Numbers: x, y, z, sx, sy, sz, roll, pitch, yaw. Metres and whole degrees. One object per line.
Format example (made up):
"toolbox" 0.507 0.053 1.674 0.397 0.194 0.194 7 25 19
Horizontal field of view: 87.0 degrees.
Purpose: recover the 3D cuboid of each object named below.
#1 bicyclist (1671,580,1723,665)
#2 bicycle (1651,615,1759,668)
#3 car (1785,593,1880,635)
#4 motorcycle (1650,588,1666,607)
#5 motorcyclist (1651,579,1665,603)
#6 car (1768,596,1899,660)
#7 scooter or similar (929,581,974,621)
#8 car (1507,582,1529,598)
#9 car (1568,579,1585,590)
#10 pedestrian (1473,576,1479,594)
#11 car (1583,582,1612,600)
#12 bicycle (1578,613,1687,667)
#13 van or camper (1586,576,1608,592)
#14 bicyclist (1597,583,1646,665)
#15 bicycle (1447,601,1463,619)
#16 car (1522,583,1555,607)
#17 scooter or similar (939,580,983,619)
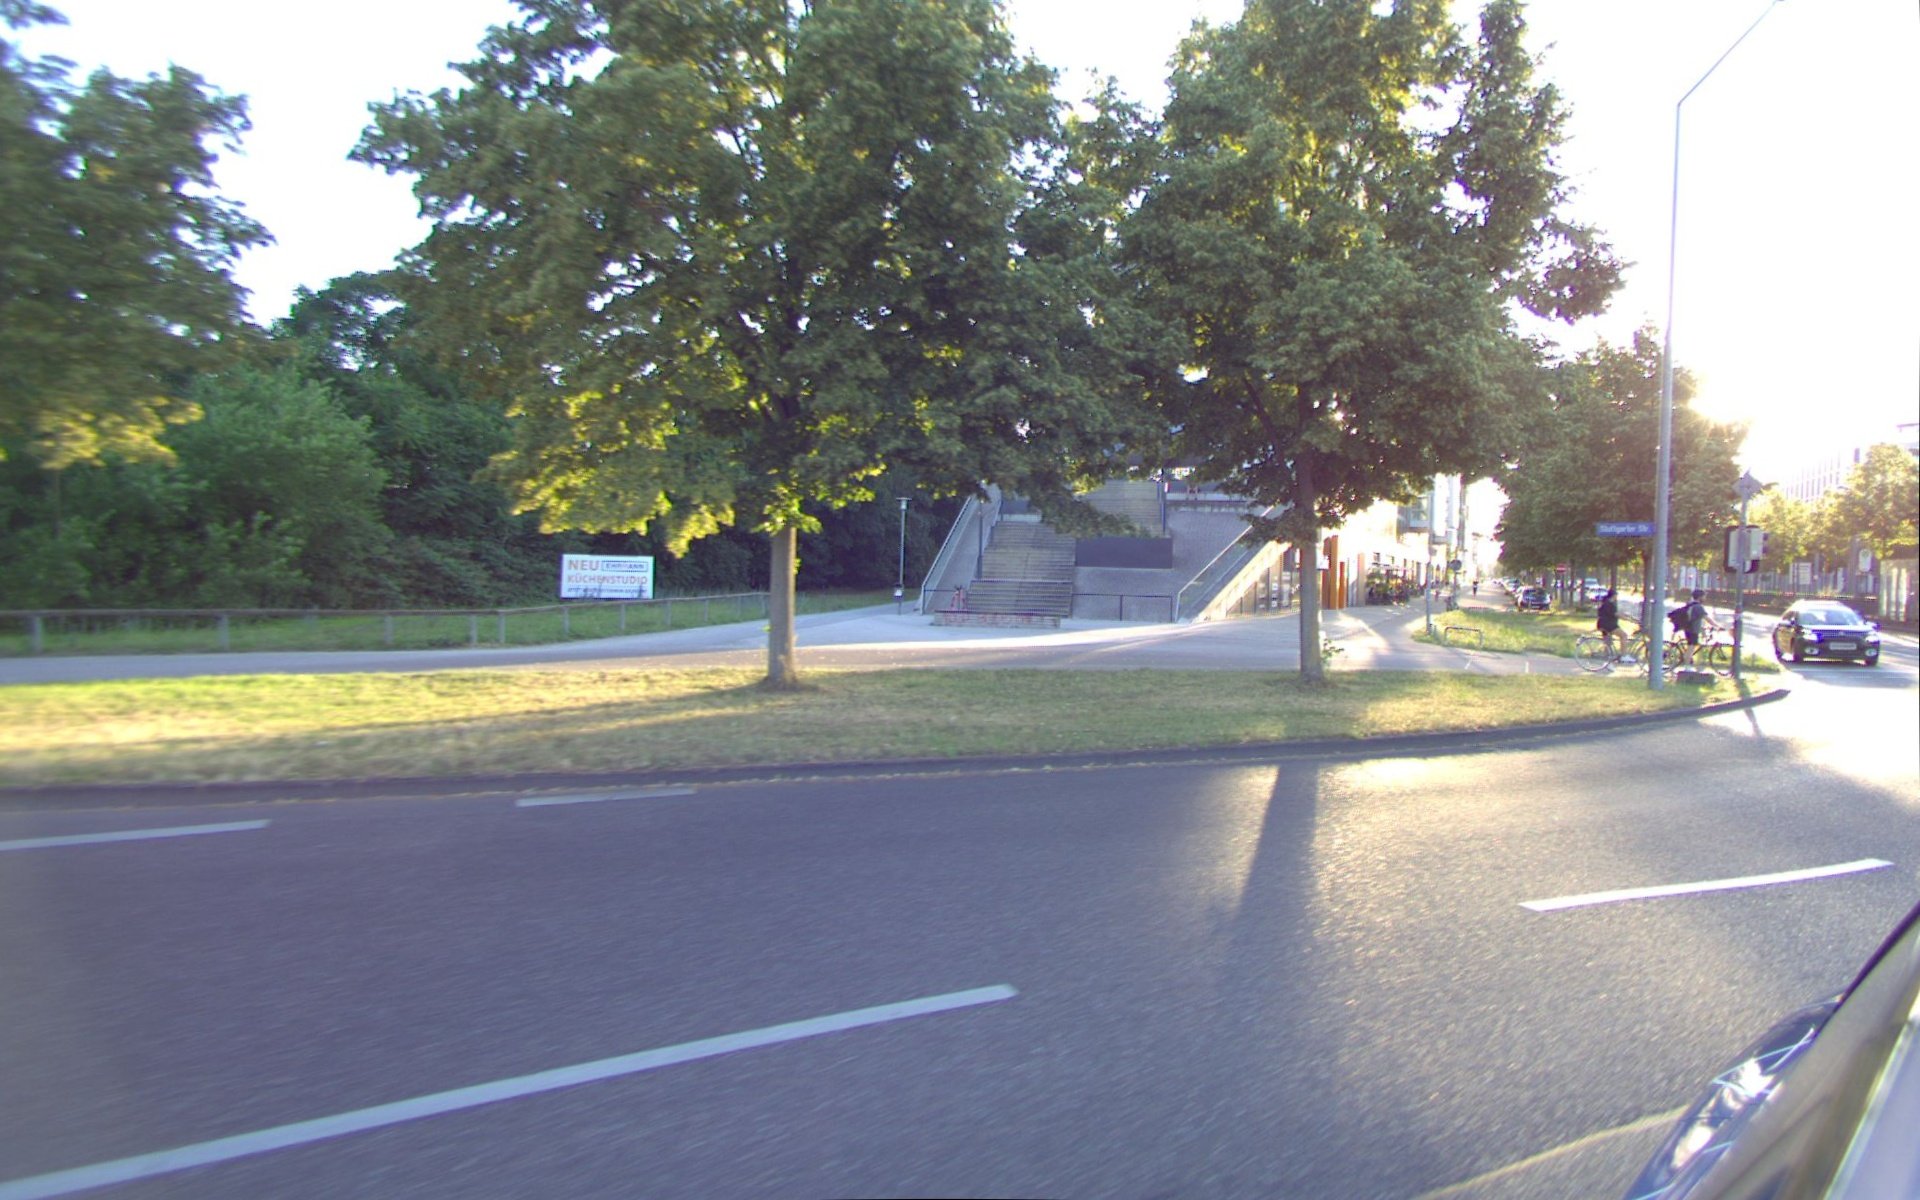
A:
"bicyclist" 15.933 0.468 21.899 0.844 1.777 0.794 2 1 36
"bicycle" 16.144 0.882 21.984 1.852 1.035 0.432 2 1 37
"car" 33.439 0.499 38.906 1.787 1.440 4.405 2 2 28
"motorcycle" 42.483 -0.145 61.579 0.553 1.114 2.138 1 1 29
"motorcyclist" 42.561 -0.539 61.720 0.631 1.426 0.588 1 2 30
"car" 23.178 0.684 27.019 1.787 1.482 3.961 2 2 28
"scooter or similar" -0.291 0.013 32.790 1.569 1.235 0.361 2 1 40
"car" 52.804 -0.984 95.784 1.787 1.482 3.961 2 2 28
"car" 98.402 -2.484 161.552 1.875 1.642 3.965 1 1 26
"pedestrian" 58.823 -1.710 115.425 0.534 2.039 0.522 1 1 28
"car" 56.157 -0.832 89.187 1.876 1.499 4.012 2 2 28
"bicycle" 13.932 0.819 21.012 1.840 1.035 0.306 1 1 20
"van or camper" 83.148 -2.155 132.159 1.981 1.981 5.278 2 2 28
"bicyclist" 13.818 0.487 21.158 0.676 1.668 0.679 1 1 19
"bicycle" 25.907 0.509 52.910 0.546 0.862 2.616 1 2 30
"car" 38.405 -0.353 67.232 1.787 1.482 3.961 2 2 28
"scooter or similar" 0.033 -0.023 33.130 1.569 1.235 0.361 2 1 40
